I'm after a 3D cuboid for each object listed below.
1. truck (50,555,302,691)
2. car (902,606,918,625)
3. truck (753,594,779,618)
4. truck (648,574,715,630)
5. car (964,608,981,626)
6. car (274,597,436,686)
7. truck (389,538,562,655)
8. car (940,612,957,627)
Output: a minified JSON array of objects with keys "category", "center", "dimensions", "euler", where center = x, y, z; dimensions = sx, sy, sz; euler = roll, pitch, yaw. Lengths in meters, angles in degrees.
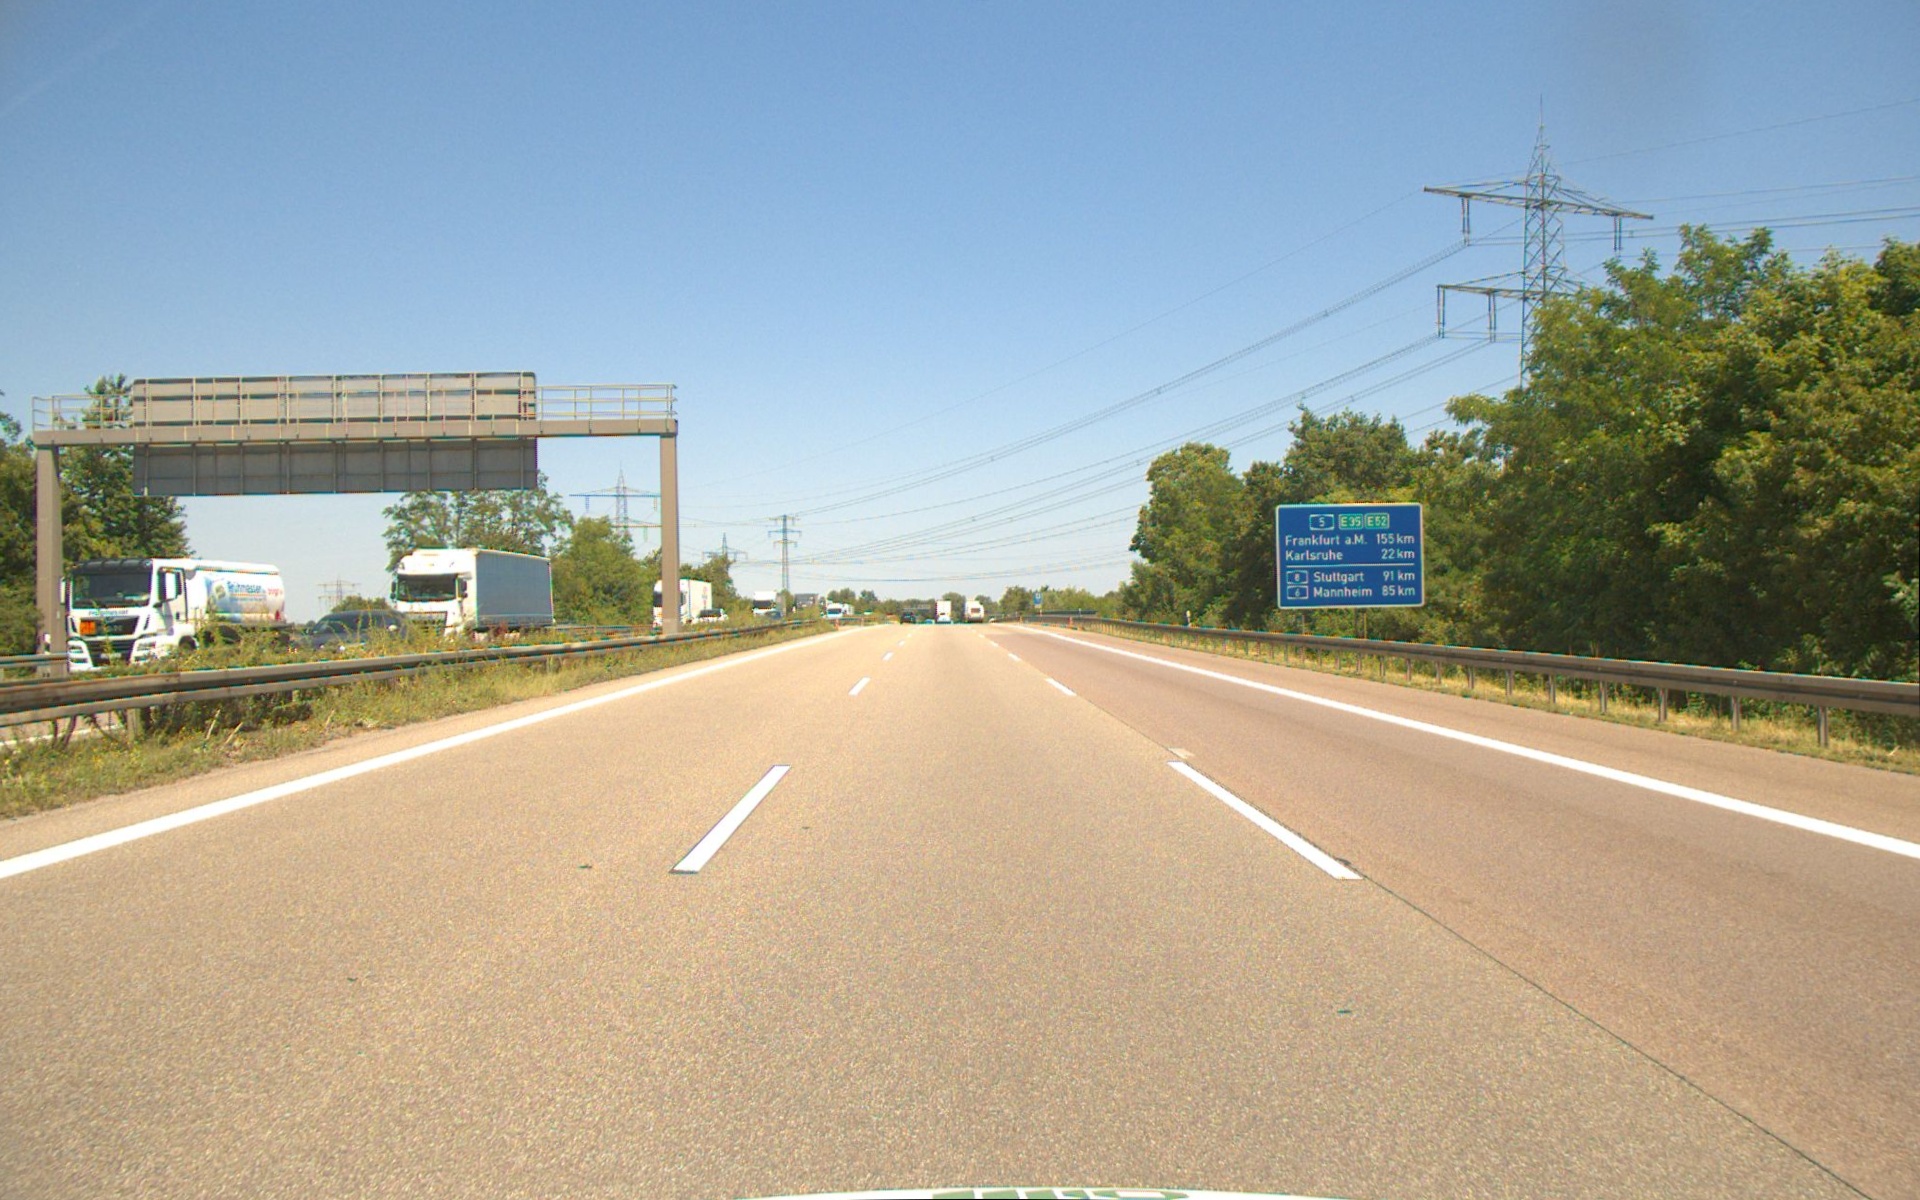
[{"category":"truck","center":[-20.912,0.564,44.811],"dimensions":[2.657,3.264,8.923],"euler":[-1,0,-1]},{"category":"car","center":[-5.654,1.763,186.826],"dimensions":[1.755,2.049,3.887],"euler":[0,0,0]},{"category":"truck","center":[-21.936,0.673,187.706],"dimensions":[2.451,2.507,12.280],"euler":[-1,0,-5]},{"category":"truck","center":[-22.254,0.149,133.309],"dimensions":[2.901,4.162,17.022],"euler":[-1,0,-2]},{"category":"car","center":[1.456,2.017,194.017],"dimensions":[1.953,2.049,3.999],"euler":[-1,0,-1]},{"category":"car","center":[-12.875,0.839,35.483],"dimensions":[1.953,1.764,4.241],"euler":[-1,0,-1]},{"category":"truck","center":[-20.706,-0.112,72.255],"dimensions":[2.657,4.466,17.322],"euler":[-1,0,-1]},{"category":"car","center":[-1.608,2.683,230.312],"dimensions":[2.132,1.963,4.613],"euler":[-1,0,3]}]
